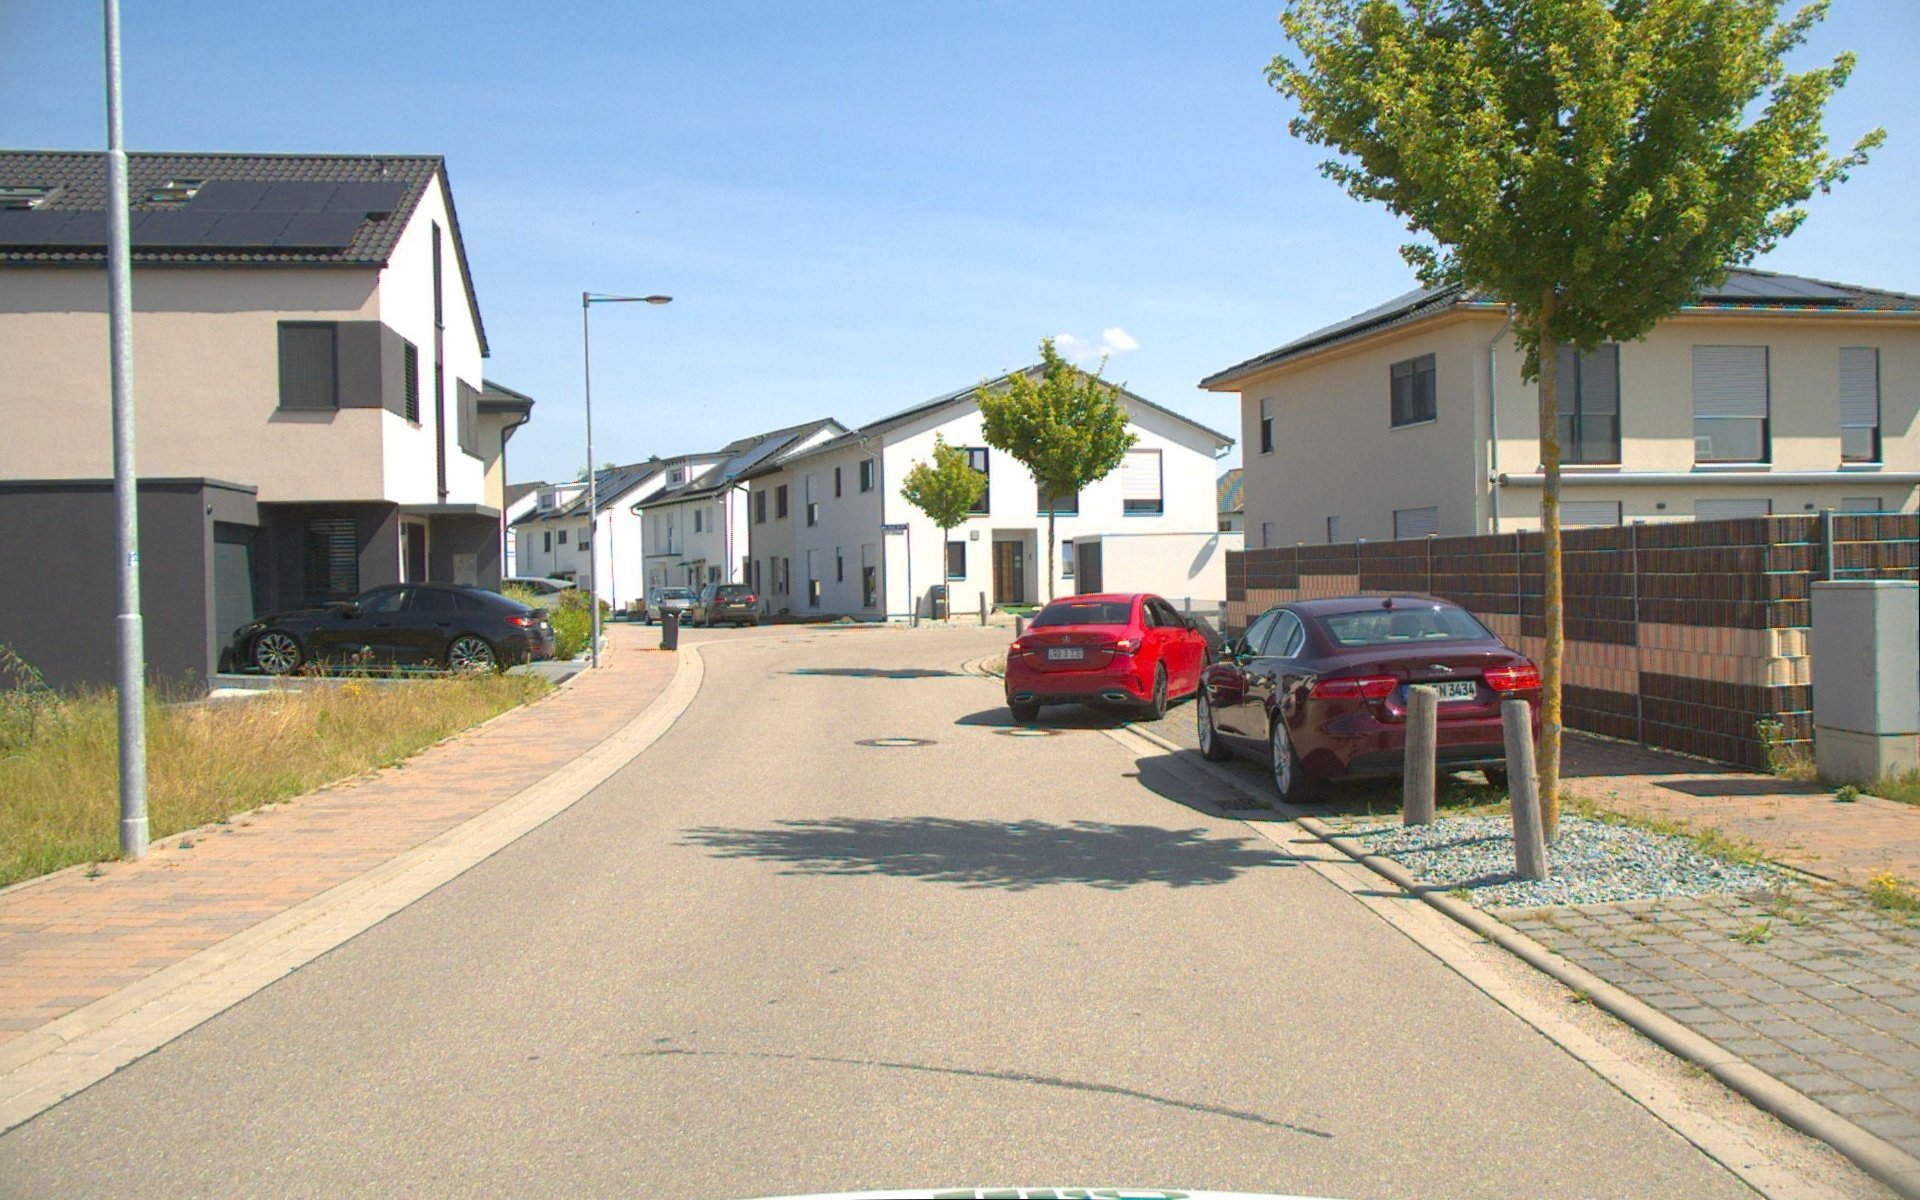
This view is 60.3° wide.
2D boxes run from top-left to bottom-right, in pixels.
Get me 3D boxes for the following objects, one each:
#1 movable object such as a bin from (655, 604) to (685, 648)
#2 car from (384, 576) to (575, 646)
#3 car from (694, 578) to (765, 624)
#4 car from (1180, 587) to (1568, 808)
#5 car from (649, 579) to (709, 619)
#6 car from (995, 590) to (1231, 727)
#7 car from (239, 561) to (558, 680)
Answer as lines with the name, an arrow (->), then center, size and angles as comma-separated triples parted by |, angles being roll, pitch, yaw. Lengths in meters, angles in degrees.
movable object such as a bin -> -6.275, 0.560, 35.824 | 0.523, 0.952, 0.526 | 1, 0, 3
car -> -10.999, 0.228, 38.088 | 3.909, 1.512, 1.753 | -1, 1, -5
car -> -7.779, 0.018, 55.571 | 1.700, 1.447, 3.980 | -2, 1, -17
car -> 3.048, 0.623, 13.214 | 1.719, 1.387, 4.573 | -2, 1, -3
car -> -11.070, -0.051, 64.957 | 1.652, 1.489, 3.921 | -2, 1, -20
car -> 2.004, 0.617, 20.277 | 1.726, 1.463, 4.520 | 0, 1, 21
car -> -8.501, 0.304, 25.350 | 4.292, 1.660, 1.768 | 1, 0, -7
